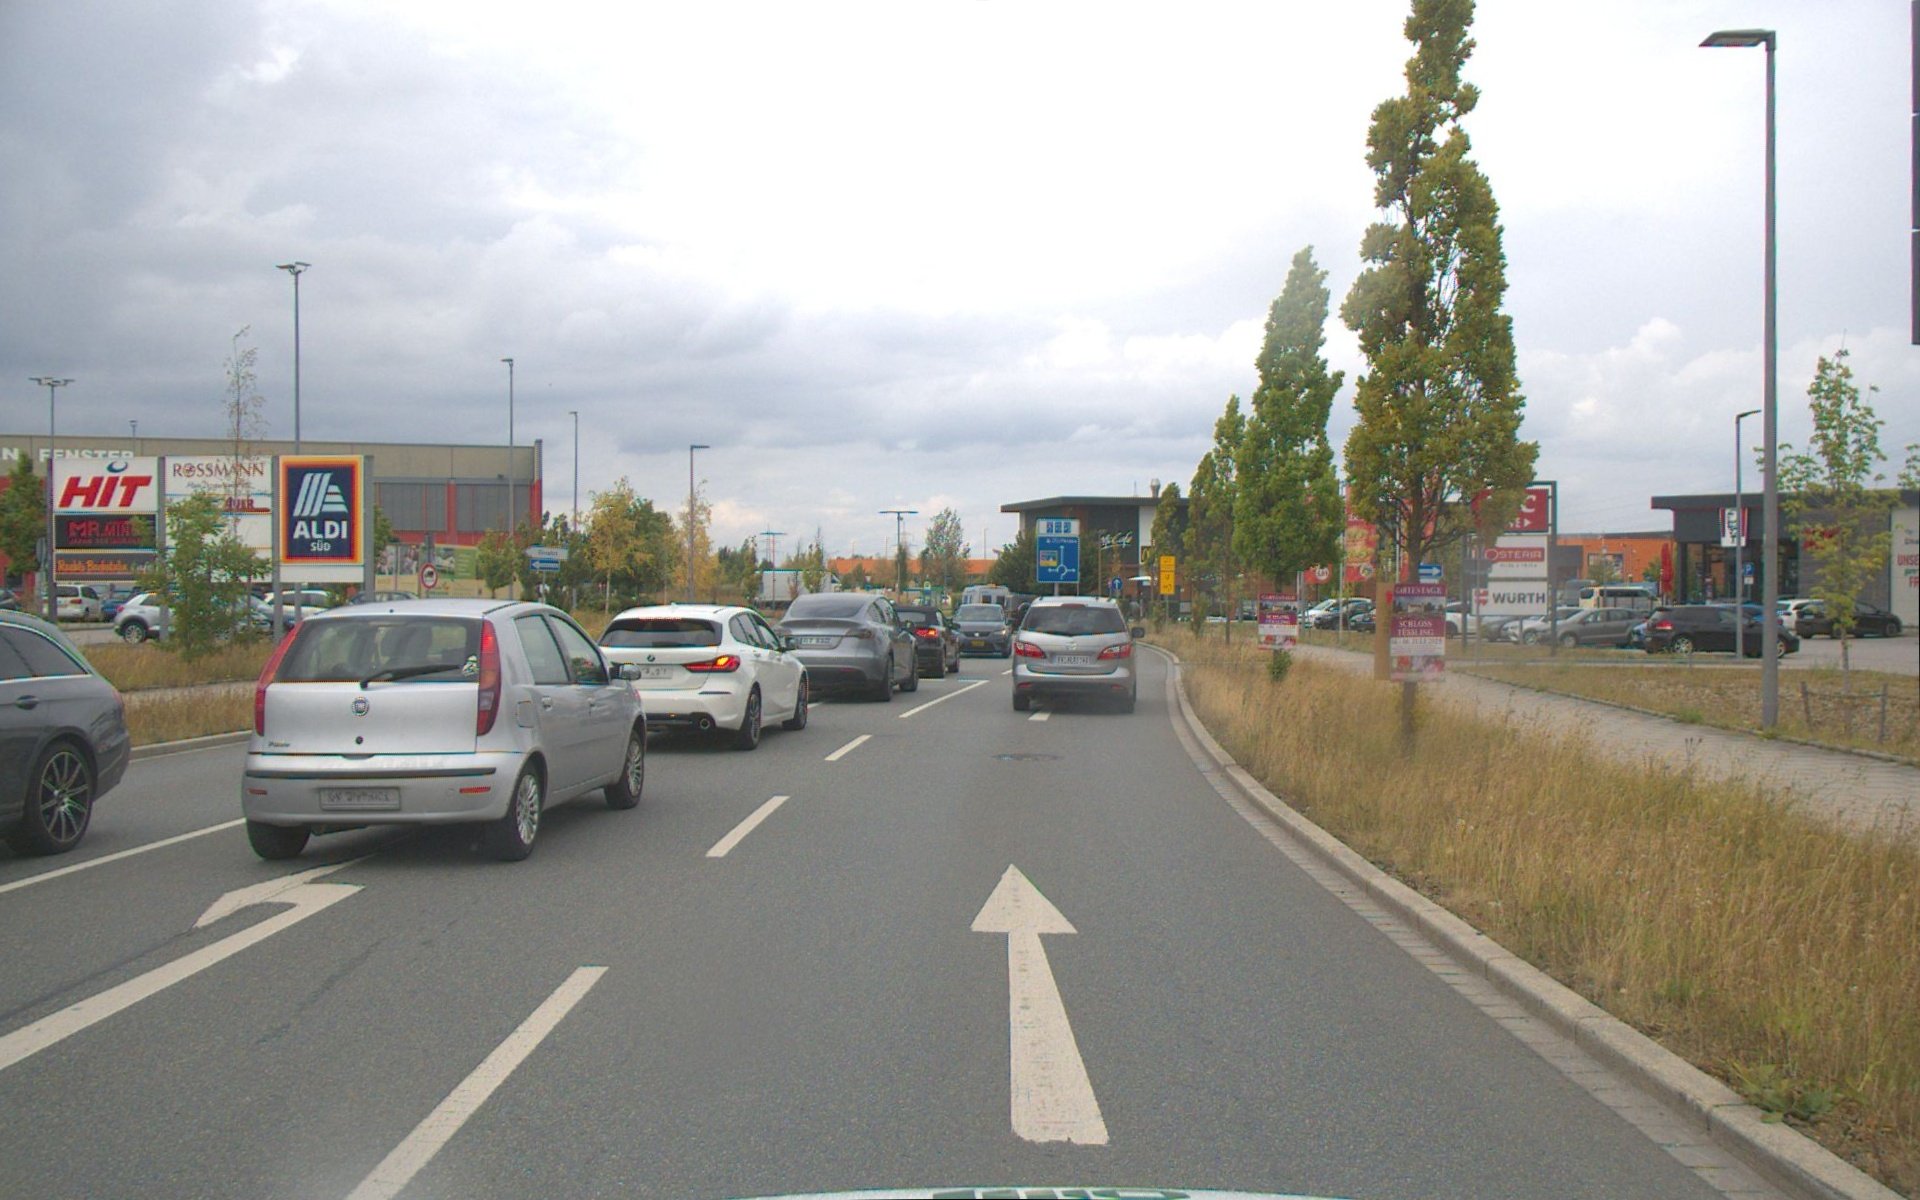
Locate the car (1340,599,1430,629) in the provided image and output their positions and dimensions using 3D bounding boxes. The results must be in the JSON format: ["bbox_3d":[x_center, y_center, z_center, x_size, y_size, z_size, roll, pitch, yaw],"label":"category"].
[{"bbox_3d":[21.776,0.716,84.760,4.011,1.463,1.937,-1,0,-12],"label":"car"}]

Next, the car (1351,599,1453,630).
[{"bbox_3d":[21.832,0.710,81.782,4.435,1.494,2.027,0,0,-10],"label":"car"}]

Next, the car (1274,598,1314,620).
[{"bbox_3d":[20.895,0.570,103.414,1.774,1.336,3.849,0,0,22],"label":"car"}]

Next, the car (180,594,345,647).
[{"bbox_3d":[-21.286,0.612,50.587,4.152,1.540,2.047,0,0,6],"label":"car"}]

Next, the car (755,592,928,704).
[{"bbox_3d":[-1.760,0.679,26.148,1.951,1.588,4.616,0,0,6],"label":"car"}]

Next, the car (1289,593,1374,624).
[{"bbox_3d":[20.678,0.458,92.139,4.276,1.668,1.929,0,0,-16],"label":"car"}]

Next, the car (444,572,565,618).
[{"bbox_3d":[-23.659,-0.266,86.125,5.967,2.347,2.202,0,0,-15],"label":"car"}]

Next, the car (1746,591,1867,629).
[{"bbox_3d":[36.945,0.429,72.242,4.485,1.545,2.073,-1,0,-15],"label":"car"}]

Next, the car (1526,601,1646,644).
[{"bbox_3d":[22.699,0.791,60.089,3.680,1.520,1.890,0,0,2],"label":"car"}]

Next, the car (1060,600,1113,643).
[{"bbox_3d":[4.542,0.750,59.648,1.806,1.443,4.227,0,0,4],"label":"car"}]

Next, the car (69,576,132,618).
[{"bbox_3d":[-40.164,-0.133,77.376,1.963,1.882,4.244,0,0,-19],"label":"car"}]

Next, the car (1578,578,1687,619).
[{"bbox_3d":[39.881,-0.115,98.097,5.573,2.392,2.528,0,0,-12],"label":"car"}]

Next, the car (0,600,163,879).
[{"bbox_3d":[-6.146,0.790,8.465,1.748,1.515,4.768,-1,0,1],"label":"car"}]

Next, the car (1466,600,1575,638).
[{"bbox_3d":[23.631,0.795,69.800,3.906,1.511,1.940,-1,-1,-1],"label":"car"}]

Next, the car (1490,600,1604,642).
[{"bbox_3d":[23.008,0.827,64.897,3.782,1.507,1.902,-2,0,0],"label":"car"}]

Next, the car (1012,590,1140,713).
[{"bbox_3d":[1.766,0.691,24.268,1.693,1.628,3.809,1,0,6],"label":"car"}]

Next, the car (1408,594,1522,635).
[{"bbox_3d":[22.803,0.633,74.806,4.473,1.673,2.086,-2,0,-5],"label":"car"}]

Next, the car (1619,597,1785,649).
[{"bbox_3d":[22.509,0.697,50.295,4.172,1.546,1.967,0,0,4],"label":"car"}]

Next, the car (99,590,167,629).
[{"bbox_3d":[-35.800,0.392,71.665,1.962,1.635,3.981,0,0,-17],"label":"car"}]

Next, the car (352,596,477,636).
[{"bbox_3d":[-20.887,0.597,63.470,4.145,1.460,1.997,0,0,-1],"label":"car"}]

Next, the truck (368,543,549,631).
[{"bbox_3d":[-21.710,-0.536,72.235,2.792,3.603,8.426,0,0,23],"label":"truck"}]

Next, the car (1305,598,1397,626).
[{"bbox_3d":[21.178,0.653,89.673,4.390,1.461,2.067,0,0,-13],"label":"car"}]

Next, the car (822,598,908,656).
[{"bbox_3d":[-2.901,0.803,51.539,1.951,1.665,4.705,-2,0,5],"label":"car"}]

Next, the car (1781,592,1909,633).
[{"bbox_3d":[35.813,0.501,66.966,4.488,1.545,1.969,-1,0,-17],"label":"car"}]

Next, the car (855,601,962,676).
[{"bbox_3d":[-0.998,0.771,34.280,1.731,1.463,4.233,0,-1,5],"label":"car"}]

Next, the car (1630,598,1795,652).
[{"bbox_3d":[21.672,0.716,47.768,3.902,1.520,1.983,0,0,7],"label":"car"}]

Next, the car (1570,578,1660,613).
[{"bbox_3d":[48.804,-0.339,123.242,5.920,2.572,2.275,0,0,33],"label":"car"}]

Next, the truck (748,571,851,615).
[{"bbox_3d":[-14.836,-0.666,153.334,9.221,3.975,3.107,0,0,-34],"label":"truck"}]

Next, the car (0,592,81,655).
[{"bbox_3d":[-23.094,0.530,38.389,4.265,1.415,2.167,0,0,7],"label":"car"}]

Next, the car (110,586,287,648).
[{"bbox_3d":[-22.025,0.483,47.961,4.154,1.753,2.029,0,0,1],"label":"car"}]

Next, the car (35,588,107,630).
[{"bbox_3d":[-38.316,0.351,71.355,1.962,1.759,3.981,0,0,-17],"label":"car"}]

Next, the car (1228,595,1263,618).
[{"bbox_3d":[21.775,0.479,126.235,1.952,1.747,4.001,0,0,20],"label":"car"}]

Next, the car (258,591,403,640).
[{"bbox_3d":[-21.216,0.510,55.883,4.163,1.586,1.988,0,0,-4],"label":"car"}]

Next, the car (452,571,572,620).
[{"bbox_3d":[-24.579,-0.214,91.054,6.298,2.644,2.236,0,0,-14],"label":"car"}]

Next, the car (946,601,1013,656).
[{"bbox_3d":[0.589,0.768,46.031,1.791,1.445,4.246,0,0,2],"label":"car"}]

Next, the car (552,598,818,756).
[{"bbox_3d":[-2.803,0.744,17.801,1.840,1.494,4.195,0,0,5],"label":"car"}]

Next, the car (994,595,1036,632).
[{"bbox_3d":[2.844,0.691,86.387,2.016,1.858,4.786,0,0,0],"label":"car"}]

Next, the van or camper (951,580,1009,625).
[{"bbox_3d":[1.128,0.115,96.642,2.262,2.550,5.190,0,0,-12],"label":"van or camper"}]

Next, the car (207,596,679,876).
[{"bbox_3d":[-3.108,0.726,10.851,1.667,1.463,4.034,0,0,3],"label":"car"}]
